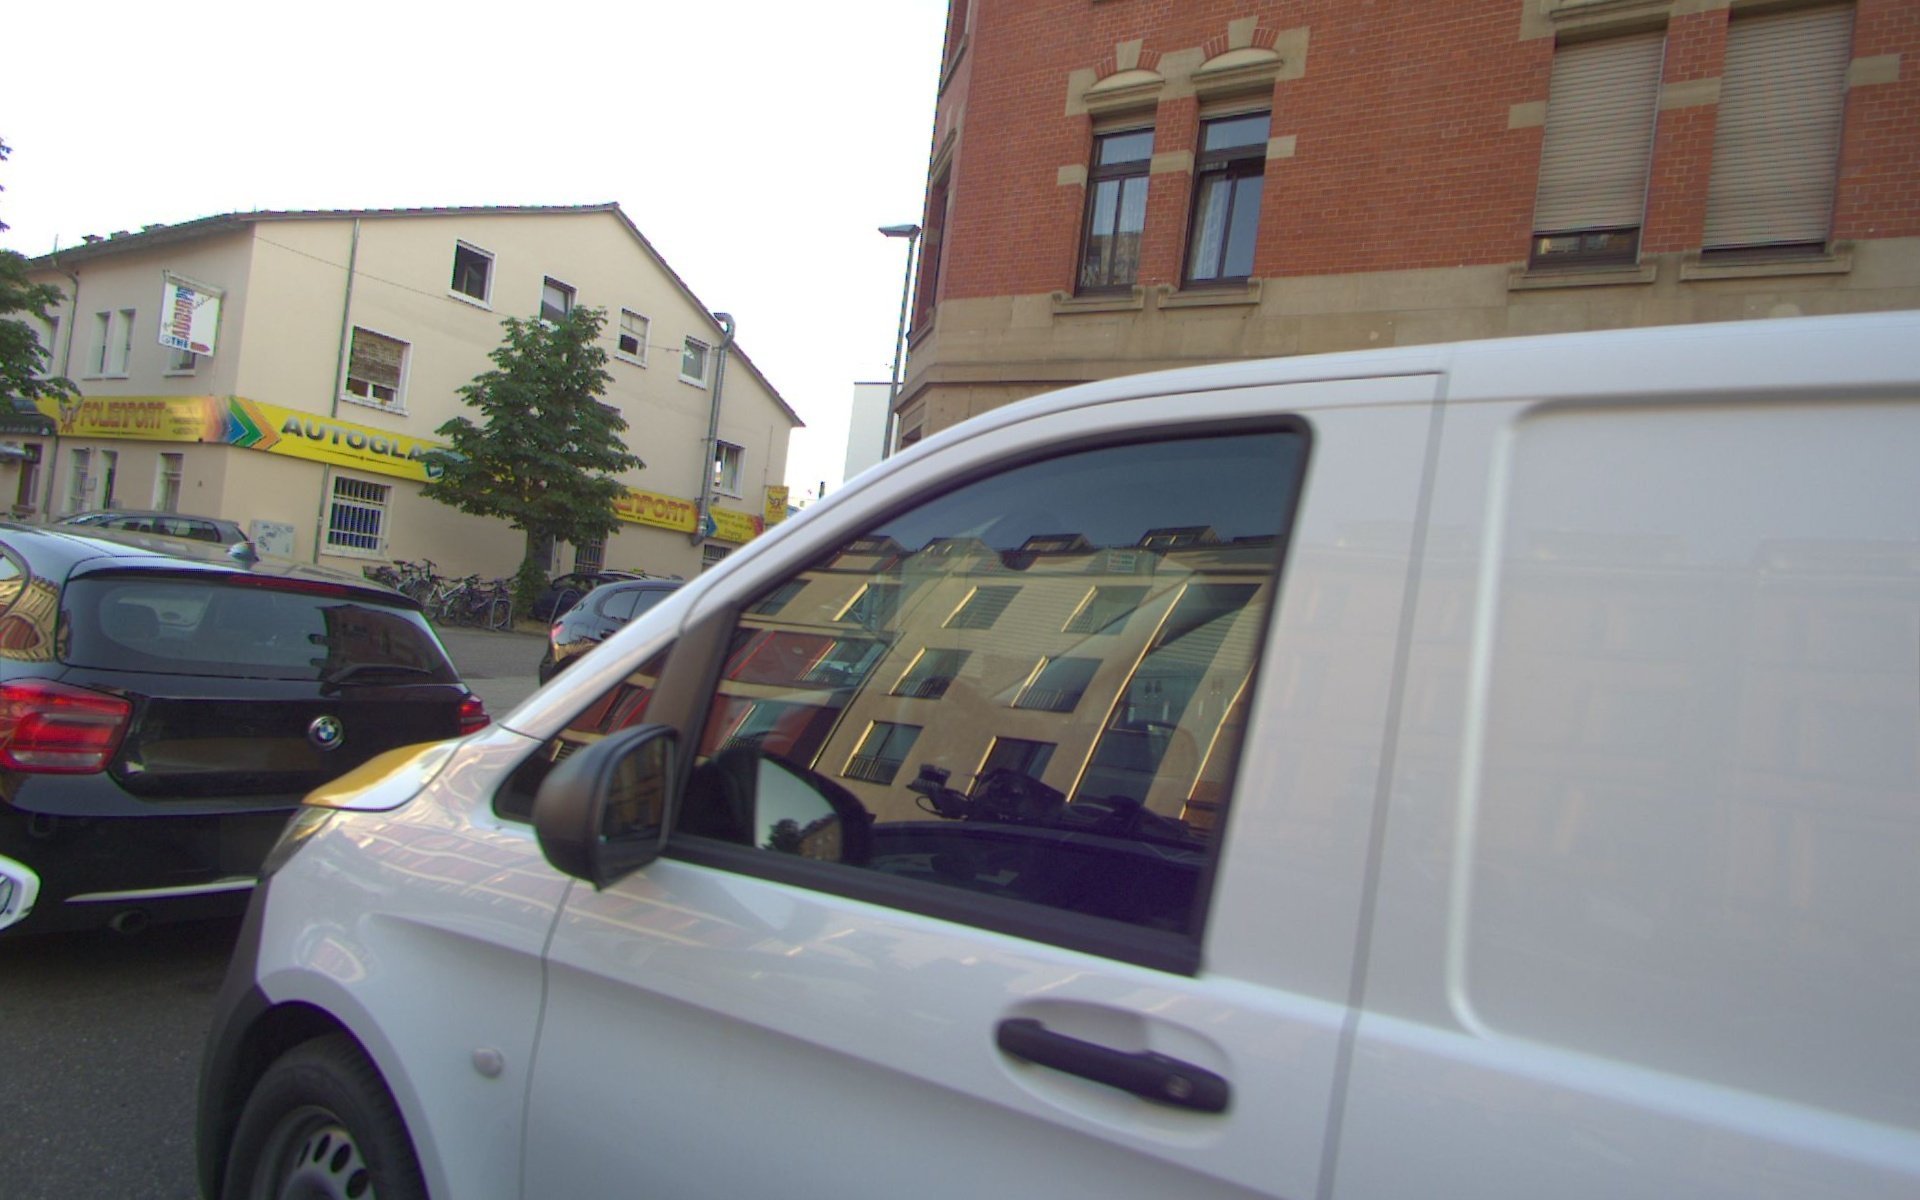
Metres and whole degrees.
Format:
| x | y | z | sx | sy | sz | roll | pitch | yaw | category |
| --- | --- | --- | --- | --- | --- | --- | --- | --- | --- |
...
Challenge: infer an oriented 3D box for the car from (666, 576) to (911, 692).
| x | y | z | sx | sy | sz | roll | pitch | yaw | category |
| --- | --- | --- | --- | --- | --- | --- | --- | --- | --- |
| -2.856 | 0.677 | 17.811 | 1.847 | 1.692 | 4.327 | 5 | -2 | 30 | car |

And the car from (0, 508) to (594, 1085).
| x | y | z | sx | sy | sz | roll | pitch | yaw | category |
| --- | --- | --- | --- | --- | --- | --- | --- | --- | --- |
| -3.737 | 0.390 | 4.307 | 4.182 | 1.440 | 1.725 | 7 | -2 | 31 | car |

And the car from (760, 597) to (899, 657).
| x | y | z | sx | sy | sz | roll | pitch | yaw | category |
| --- | --- | --- | --- | --- | --- | --- | --- | --- | --- |
| -4.398 | 0.887 | 33.708 | 4.260 | 1.555 | 1.875 | 5 | -1 | 30 | car |

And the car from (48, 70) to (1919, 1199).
| x | y | z | sx | sy | sz | roll | pitch | yaw | category |
| --- | --- | --- | --- | --- | --- | --- | --- | --- | --- |
| 0.857 | 0.667 | 1.564 | 4.997 | 1.906 | 1.897 | 7 | -1 | 31 | car |

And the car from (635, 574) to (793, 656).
| x | y | z | sx | sy | sz | roll | pitch | yaw | category |
| --- | --- | --- | --- | --- | --- | --- | --- | --- | --- |
| -7.231 | 0.429 | 29.493 | 4.260 | 1.924 | 1.875 | 5 | -1 | 30 | car |

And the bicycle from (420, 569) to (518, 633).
| x | y | z | sx | sy | sz | roll | pitch | yaw | category |
| --- | --- | --- | --- | --- | --- | --- | --- | --- | --- |
| -10.272 | 0.036 | 21.131 | 0.420 | 1.141 | 1.925 | 8 | -1 | 23 | bicycle |

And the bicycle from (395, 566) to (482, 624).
| x | y | z | sx | sy | sz | roll | pitch | yaw | category |
| --- | --- | --- | --- | --- | --- | --- | --- | --- | --- |
| -11.264 | -0.086 | 21.774 | 0.338 | 1.053 | 1.605 | 10 | 0 | 33 | bicycle |

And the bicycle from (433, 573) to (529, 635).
| x | y | z | sx | sy | sz | roll | pitch | yaw | category |
| --- | --- | --- | --- | --- | --- | --- | --- | --- | --- |
| -9.933 | 0.109 | 20.930 | 0.420 | 1.087 | 1.856 | 10 | -1 | 23 | bicycle |

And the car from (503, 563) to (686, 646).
| x | y | z | sx | sy | sz | roll | pitch | yaw | category |
| --- | --- | --- | --- | --- | --- | --- | --- | --- | --- |
| -9.267 | 0.100 | 25.424 | 4.495 | 1.528 | 1.744 | 6 | -1 | 30 | car |

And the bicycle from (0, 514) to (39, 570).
| x | y | z | sx | sy | sz | roll | pitch | yaw | category |
| --- | --- | --- | --- | --- | --- | --- | --- | --- | --- |
| -19.341 | -1.205 | 20.523 | 1.457 | 1.030 | 0.388 | 7 | 1 | 32 | bicycle |

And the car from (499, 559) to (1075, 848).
| x | y | z | sx | sy | sz | roll | pitch | yaw | category |
| --- | --- | --- | --- | --- | --- | --- | --- | --- | --- |
| -1.489 | 0.637 | 8.019 | 4.349 | 1.442 | 1.728 | 7 | 1 | 31 | car |

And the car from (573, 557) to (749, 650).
| x | y | z | sx | sy | sz | roll | pitch | yaw | category |
| --- | --- | --- | --- | --- | --- | --- | --- | --- | --- |
| -8.165 | 0.082 | 27.379 | 4.500 | 1.854 | 1.875 | 8 | 0 | 30 | car |

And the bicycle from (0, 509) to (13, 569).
| x | y | z | sx | sy | sz | roll | pitch | yaw | category |
| --- | --- | --- | --- | --- | --- | --- | --- | --- | --- |
| -19.510 | -1.269 | 20.153 | 1.457 | 1.157 | 0.353 | 7 | 1 | 32 | bicycle |

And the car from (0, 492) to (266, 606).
| x | y | z | sx | sy | sz | roll | pitch | yaw | category |
| --- | --- | --- | --- | --- | --- | --- | --- | --- | --- |
| -15.041 | -0.880 | 17.851 | 1.727 | 1.533 | 4.054 | 9 | 1 | 32 | car |

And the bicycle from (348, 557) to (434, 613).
| x | y | z | sx | sy | sz | roll | pitch | yaw | category |
| --- | --- | --- | --- | --- | --- | --- | --- | --- | --- |
| -12.652 | -0.319 | 22.420 | 0.338 | 1.031 | 1.606 | 10 | -1 | 30 | bicycle |

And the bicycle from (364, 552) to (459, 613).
| x | y | z | sx | sy | sz | roll | pitch | yaw | category |
| --- | --- | --- | --- | --- | --- | --- | --- | --- | --- |
| -12.672 | -0.379 | 23.289 | 0.338 | 1.162 | 1.863 | 10 | -1 | 33 | bicycle |

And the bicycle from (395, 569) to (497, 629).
| x | y | z | sx | sy | sz | roll | pitch | yaw | category |
| --- | --- | --- | --- | --- | --- | --- | --- | --- | --- |
| -10.896 | -0.003 | 21.394 | 0.421 | 1.022 | 1.853 | 10 | -1 | 33 | bicycle |

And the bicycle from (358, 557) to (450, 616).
| x | y | z | sx | sy | sz | roll | pitch | yaw | category |
| --- | --- | --- | --- | --- | --- | --- | --- | --- | --- |
| -12.312 | -0.270 | 22.324 | 0.338 | 1.082 | 1.735 | 10 | -1 | 30 | bicycle |

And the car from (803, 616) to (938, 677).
| x | y | z | sx | sy | sz | roll | pitch | yaw | category |
| --- | --- | --- | --- | --- | --- | --- | --- | --- | --- |
| -3.170 | 1.628 | 35.476 | 4.259 | 1.660 | 1.942 | 5 | -1 | 29 | car |
